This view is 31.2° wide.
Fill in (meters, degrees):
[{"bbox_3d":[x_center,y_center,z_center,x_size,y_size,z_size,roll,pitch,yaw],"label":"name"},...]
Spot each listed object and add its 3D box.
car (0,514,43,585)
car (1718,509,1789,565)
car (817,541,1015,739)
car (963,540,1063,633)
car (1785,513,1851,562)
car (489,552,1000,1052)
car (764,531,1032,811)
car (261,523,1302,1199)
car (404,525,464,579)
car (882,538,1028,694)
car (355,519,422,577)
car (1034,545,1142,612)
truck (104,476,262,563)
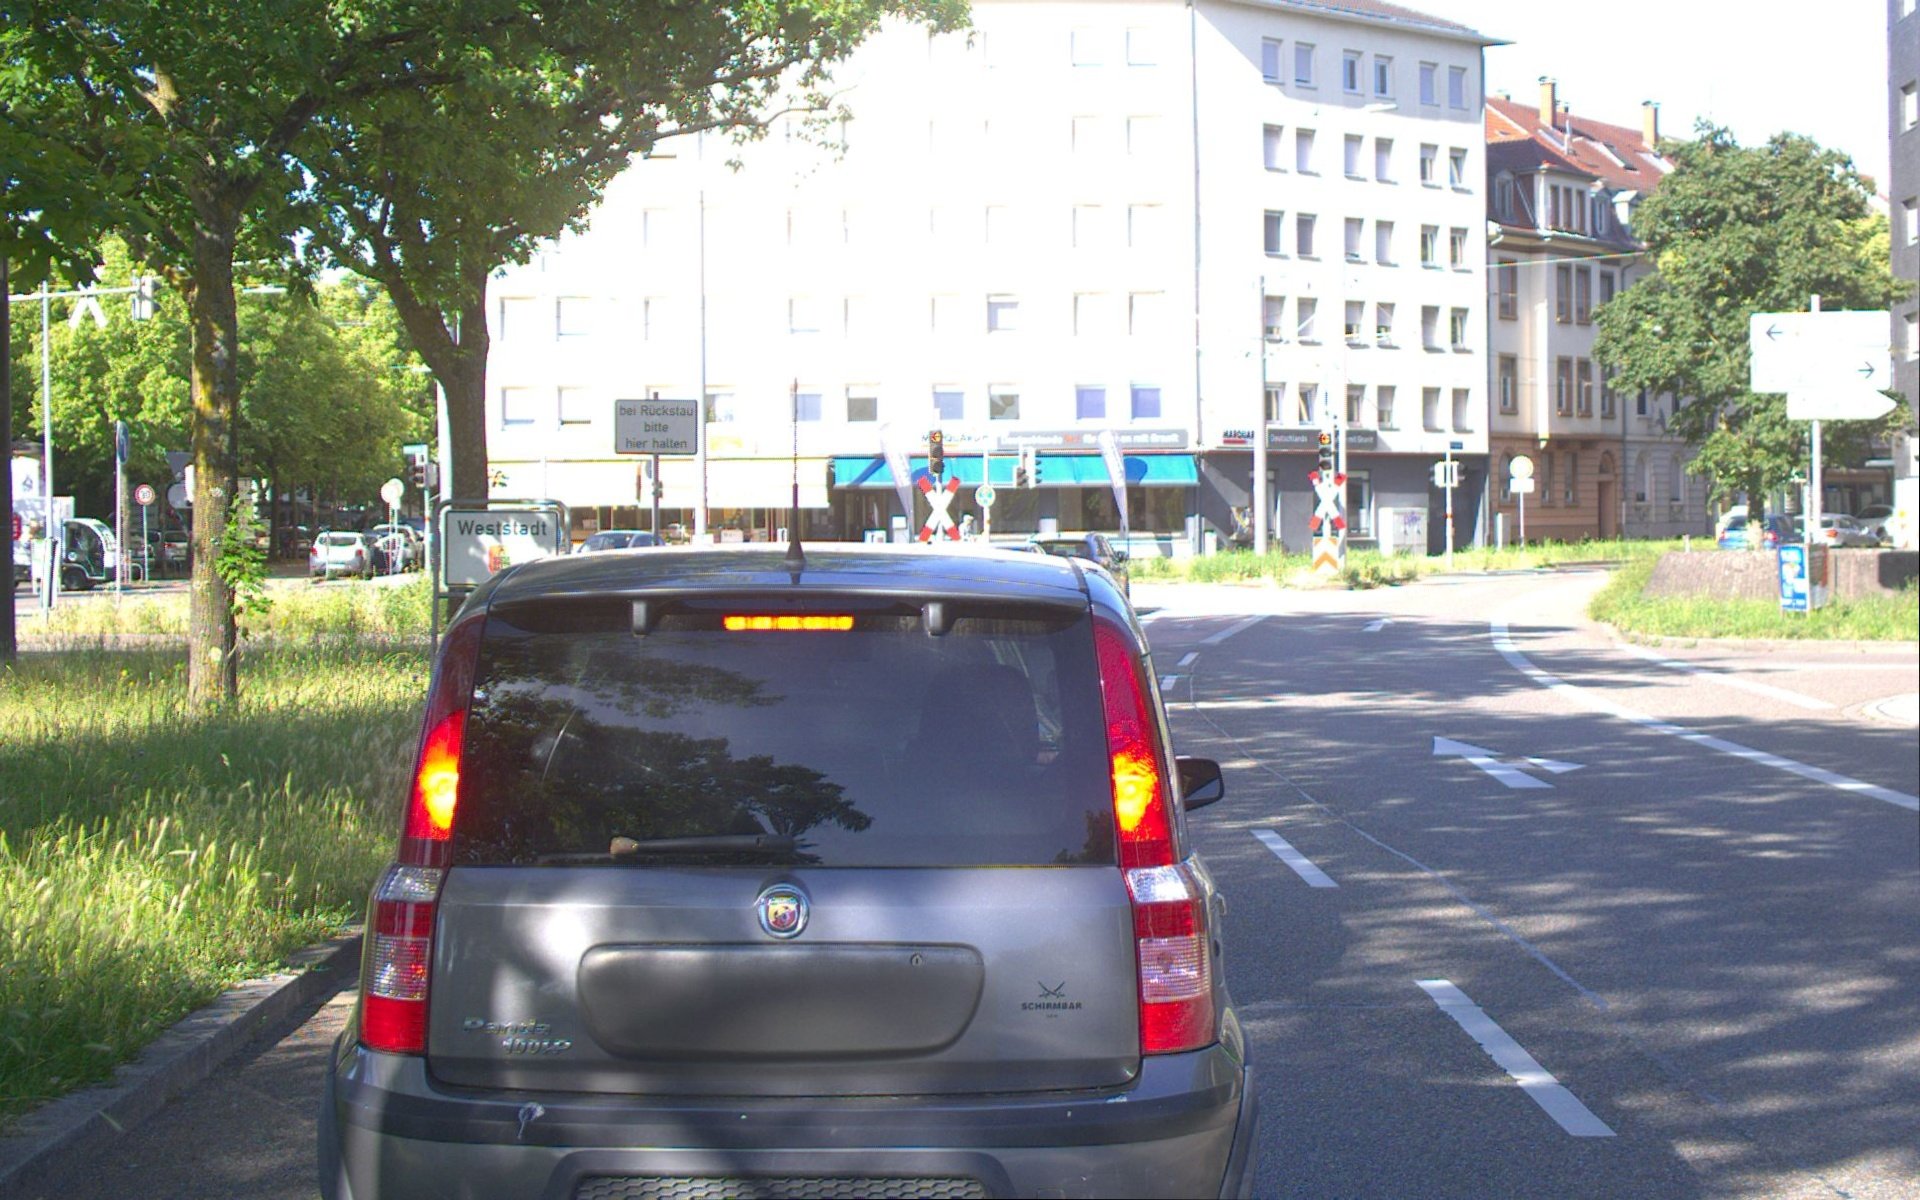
[{"bbox_3d":[-28.548,-1.429,98.255,4.176,2.007,1.932,-1,1,-2],"label":"car"},{"bbox_3d":[20.876,-1.663,90.393,1.683,1.444,3.569,0,1,15],"label":"car"},{"bbox_3d":[-0.347,0.269,27.256,1.463,1.420,3.381,0,2,-1],"label":"car"},{"bbox_3d":[0.746,-0.211,49.598,1.356,1.277,2.876,0,1,-1],"label":"car"},{"bbox_3d":[23.445,-1.721,93.885,1.528,1.310,3.285,0,2,18],"label":"car"},{"bbox_3d":[-0.642,0.561,11.642,1.463,1.396,3.393,0,1,-1],"label":"car"},{"bbox_3d":[-0.360,0.357,20.682,1.463,1.503,3.505,0,2,-1],"label":"car"},{"bbox_3d":[-0.299,0.599,7.421,1.628,1.503,4.000,-1,1,-1],"label":"car"},{"bbox_3d":[-20.371,-1.876,133.304,1.993,2.007,4.001,-1,1,-4],"label":"car"},{"bbox_3d":[-0.062,0.123,33.865,1.356,1.444,3.266,-1,1,-1],"label":"car"},{"bbox_3d":[-20.522,-1.890,123.584,1.993,2.007,4.001,-1,1,-4],"label":"car"},{"bbox_3d":[2.168,-0.370,57.672,1.143,1.060,2.719,0,1,17],"label":"car"},{"bbox_3d":[-28.887,-2.991,127.775,5.485,3.158,2.340,0,1,28],"label":"truck"}]
